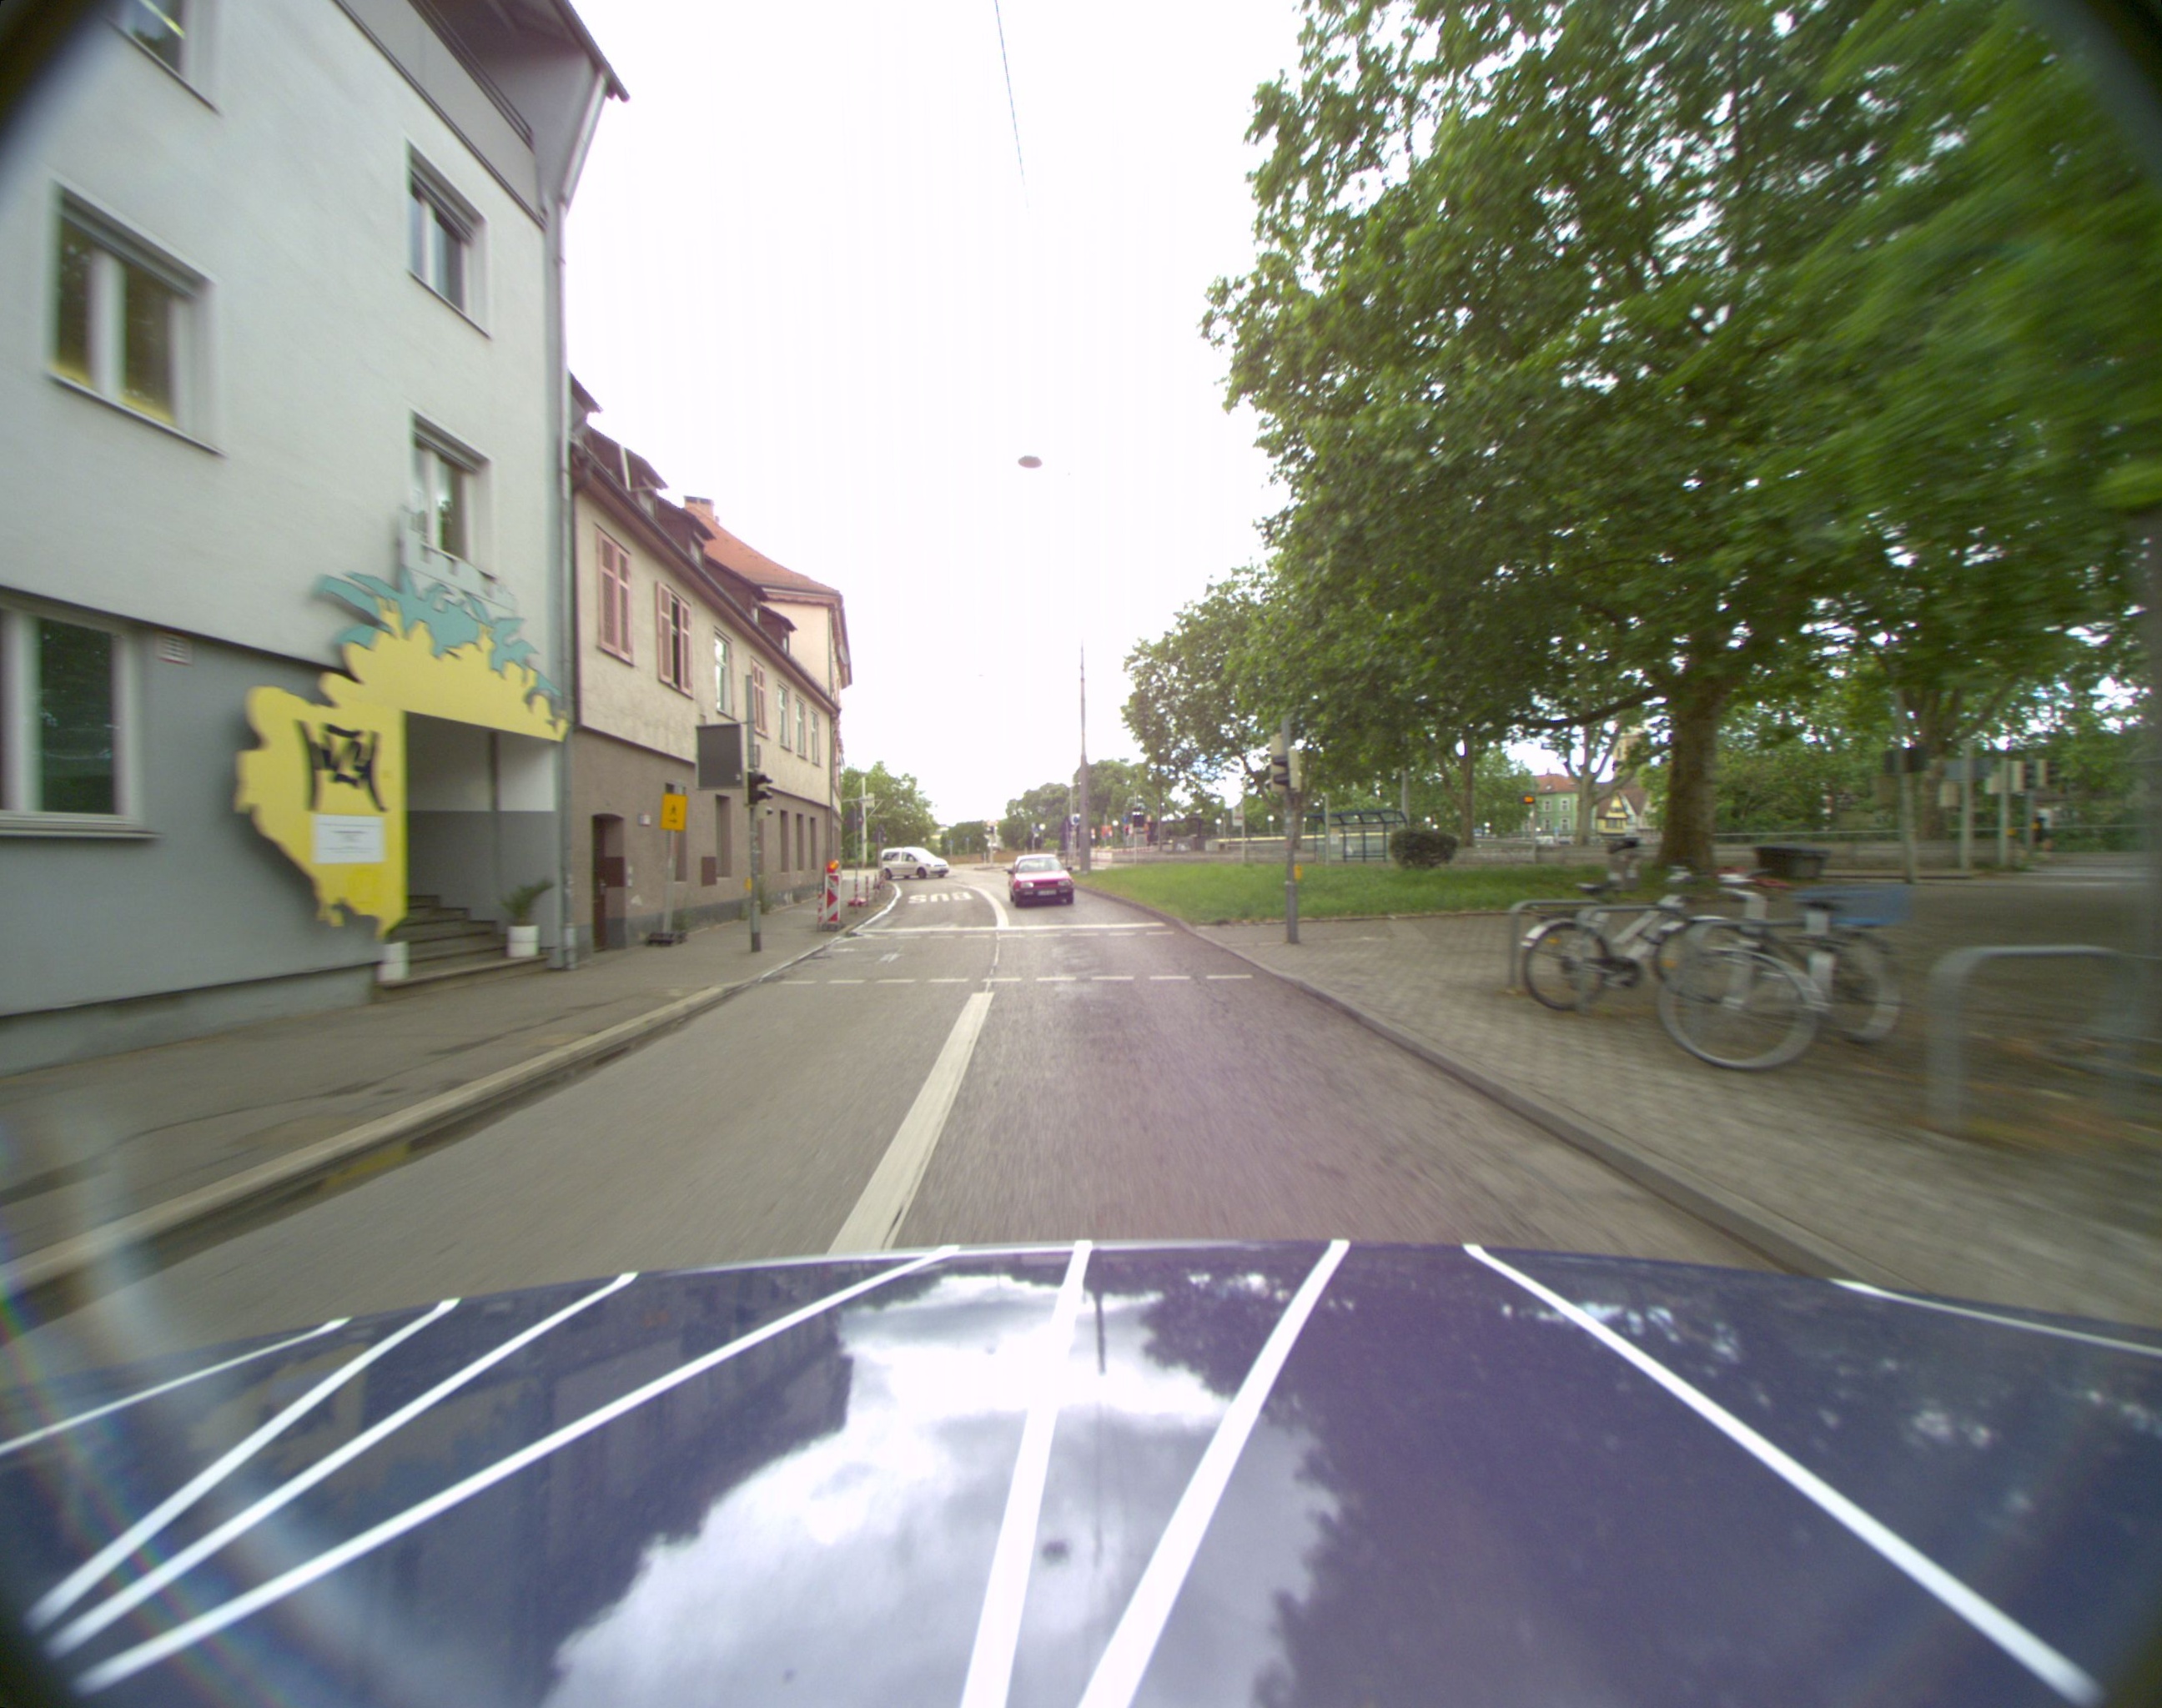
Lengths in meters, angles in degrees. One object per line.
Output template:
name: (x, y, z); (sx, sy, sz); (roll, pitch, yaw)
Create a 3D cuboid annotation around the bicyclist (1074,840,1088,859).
bicyclist: (0.023, -0.426, 70.197); (1.005, 1.642, 0.643); (-1, 5, 35)

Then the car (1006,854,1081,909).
car: (-1.204, 0.775, 22.579); (1.851, 1.414, 4.171); (-2, -1, -7)

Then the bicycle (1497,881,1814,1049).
bicycle: (4.286, 0.819, 5.765); (1.873, 1.107, 0.578); (-3, 1, 5)

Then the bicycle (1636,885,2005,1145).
bicycle: (4.295, 0.838, 4.433); (1.808, 1.169, 0.724); (-3, 1, -16)

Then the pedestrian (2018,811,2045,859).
pedestrian: (32.918, -0.663, 26.307); (0.502, 1.614, 0.533); (-6, 5, -34)

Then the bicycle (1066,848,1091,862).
bicycle: (-0.210, 0.083, 70.370); (2.258, 1.271, 0.692); (-1, 4, 36)

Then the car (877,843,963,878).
car: (-9.327, 0.380, 43.988); (4.446, 1.776, 2.077); (-2, 4, 28)
